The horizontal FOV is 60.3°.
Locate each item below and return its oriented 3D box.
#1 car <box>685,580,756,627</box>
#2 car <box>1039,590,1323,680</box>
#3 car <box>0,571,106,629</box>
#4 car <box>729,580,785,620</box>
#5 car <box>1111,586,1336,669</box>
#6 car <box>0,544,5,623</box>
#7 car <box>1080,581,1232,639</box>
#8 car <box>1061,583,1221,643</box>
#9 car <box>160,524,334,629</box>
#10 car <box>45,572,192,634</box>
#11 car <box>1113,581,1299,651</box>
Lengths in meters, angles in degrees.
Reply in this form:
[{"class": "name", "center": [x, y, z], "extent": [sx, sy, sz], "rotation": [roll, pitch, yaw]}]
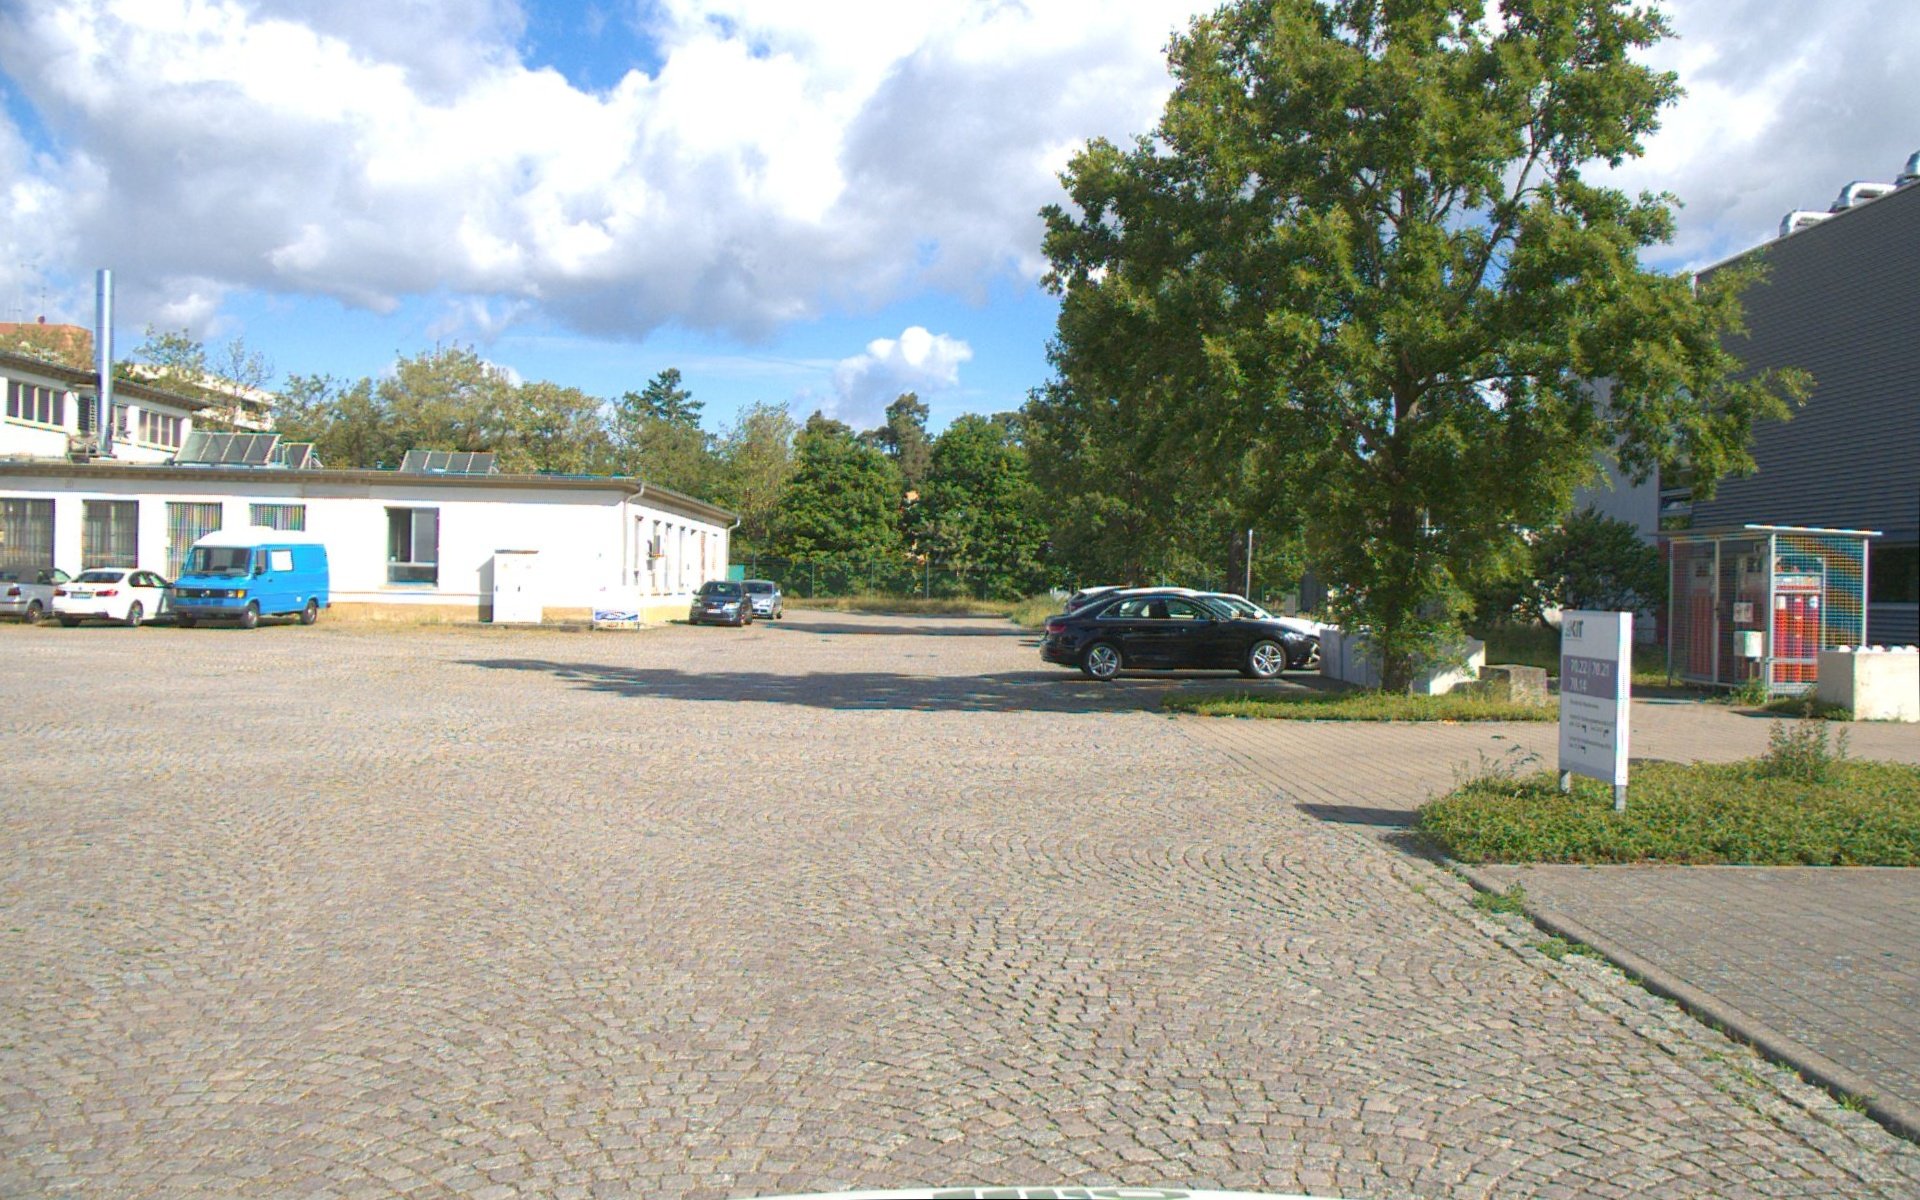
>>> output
[{"class": "car", "center": [-7.923, 0.081, 54.956], "extent": [1.727, 1.460, 3.992], "rotation": [2, 0, 0]}, {"class": "car", "center": [3.731, 0.574, 28.434], "extent": [4.623, 1.448, 1.756], "rotation": [-1, 0, -2]}, {"class": "car", "center": [-23.951, -0.029, 42.761], "extent": [1.652, 1.423, 3.833], "rotation": [1, 1, 2]}, {"class": "car", "center": [-7.941, -0.019, 64.902], "extent": [1.652, 1.460, 3.987], "rotation": [2, 0, 0]}, {"class": "car", "center": [4.901, 0.501, 31.179], "extent": [4.051, 1.485, 1.692], "rotation": [-1, 0, 4]}, {"class": "car", "center": [-26.783, -0.433, 42.128], "extent": [1.961, 2.118, 4.806], "rotation": [1, 0, 2]}, {"class": "car", "center": [5.198, 0.255, 44.226], "extent": [3.832, 1.460, 1.796], "rotation": [-1, 0, 0]}, {"class": "car", "center": [4.487, 0.312, 41.384], "extent": [3.832, 1.442, 1.692], "rotation": [-1, 0, 0]}, {"class": "car", "center": [-18.407, -0.598, 43.004], "extent": [2.039, 2.526, 5.241], "rotation": [1, 0, 2]}, {"class": "car", "center": [-21.202, 0.044, 41.848], "extent": [1.696, 1.430, 3.740], "rotation": [0, 2, 2]}, {"class": "car", "center": [5.354, 0.334, 36.397], "extent": [3.832, 1.472, 1.756], "rotation": [-1, 0, 0]}]
